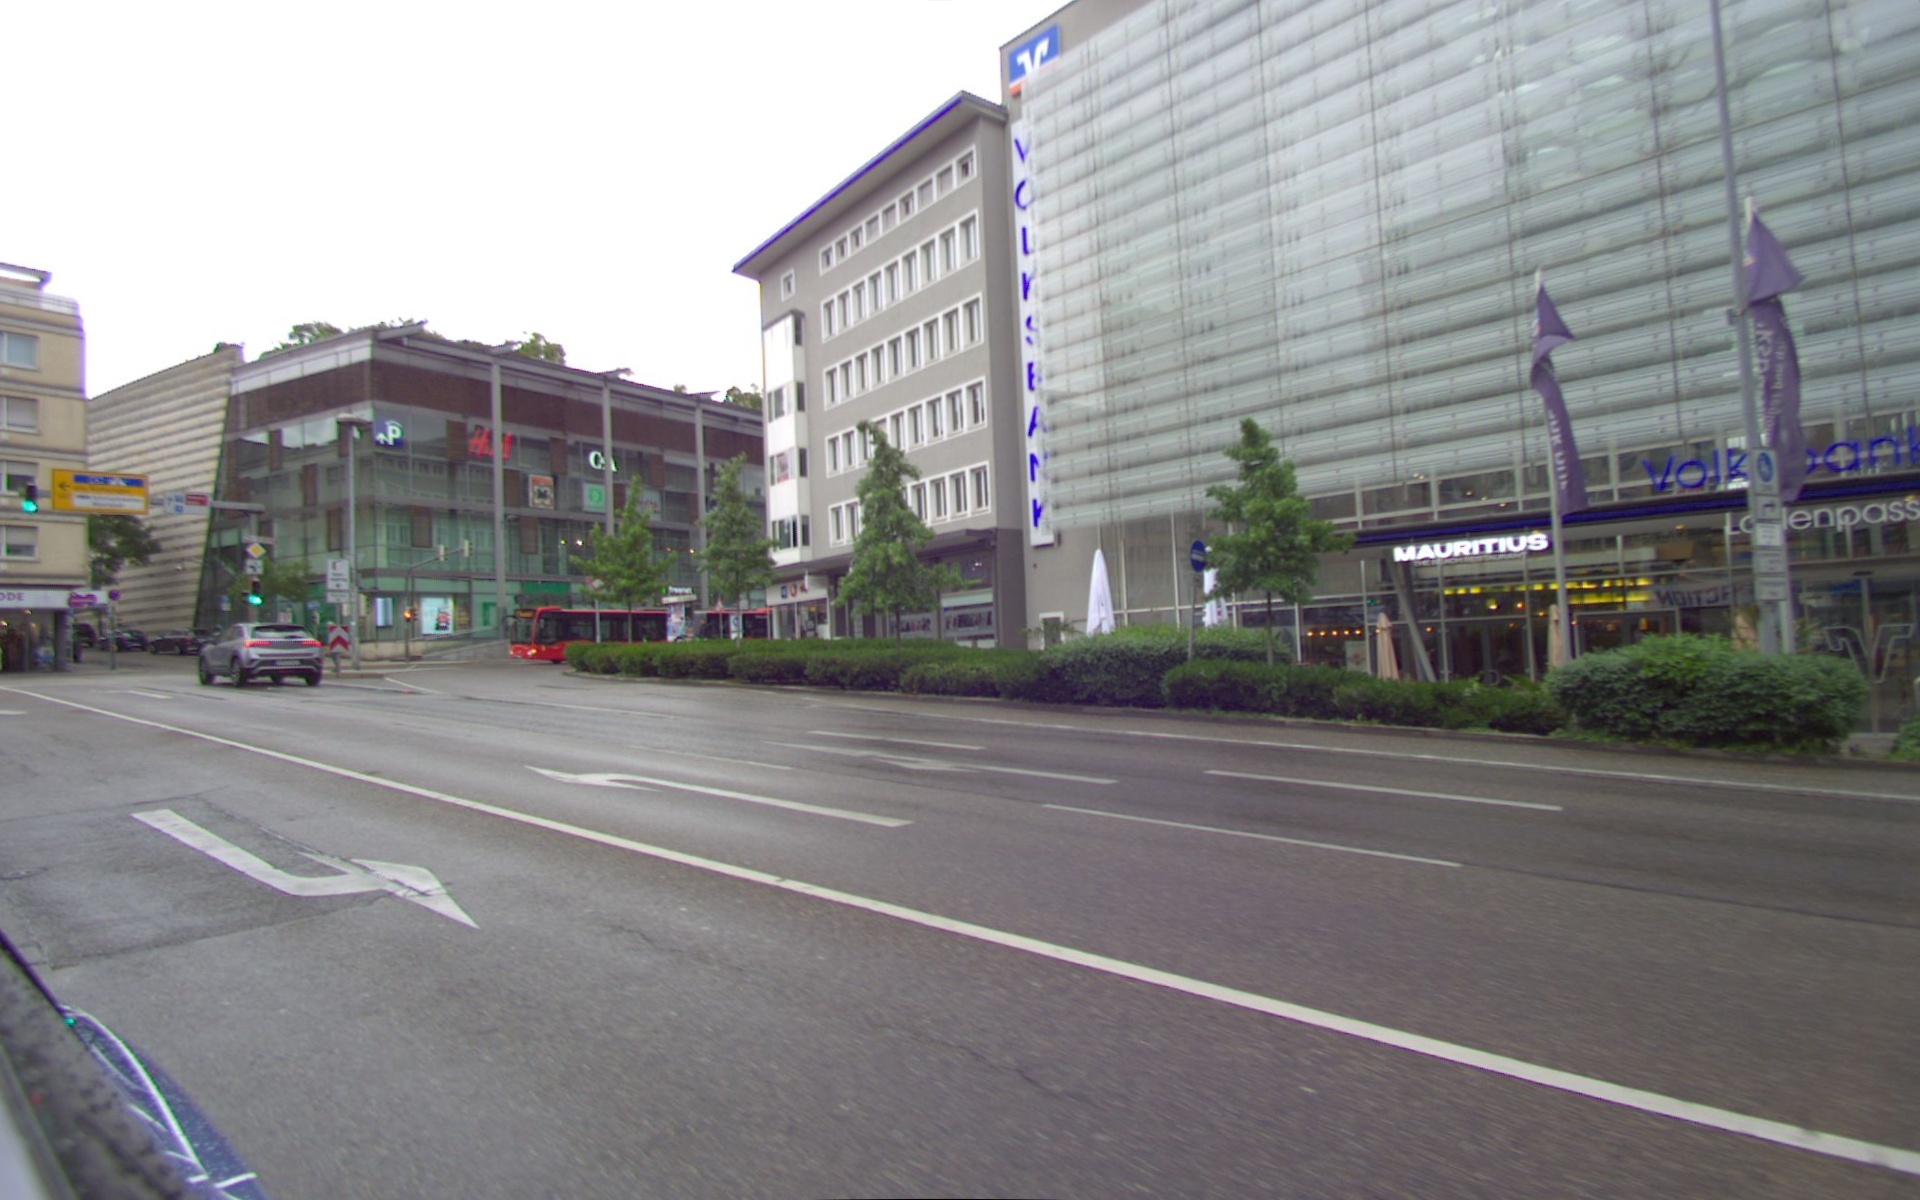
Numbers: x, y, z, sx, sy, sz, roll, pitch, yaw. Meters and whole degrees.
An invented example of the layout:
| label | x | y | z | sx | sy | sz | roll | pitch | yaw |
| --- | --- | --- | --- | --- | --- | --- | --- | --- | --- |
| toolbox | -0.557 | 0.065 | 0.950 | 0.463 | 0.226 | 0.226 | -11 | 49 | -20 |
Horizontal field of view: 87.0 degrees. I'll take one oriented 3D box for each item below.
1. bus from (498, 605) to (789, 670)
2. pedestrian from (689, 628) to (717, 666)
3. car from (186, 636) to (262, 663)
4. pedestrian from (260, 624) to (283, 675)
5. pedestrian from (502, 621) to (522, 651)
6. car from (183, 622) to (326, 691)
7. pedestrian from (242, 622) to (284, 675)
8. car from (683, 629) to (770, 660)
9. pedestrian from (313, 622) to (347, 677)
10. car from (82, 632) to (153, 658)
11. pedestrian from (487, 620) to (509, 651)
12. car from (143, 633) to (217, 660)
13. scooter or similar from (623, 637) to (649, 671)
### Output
| label | x | y | z | sx | sy | sz | roll | pitch | yaw |
| --- | --- | --- | --- | --- | --- | --- | --- | --- | --- |
| bus | -17.762 | 2.285 | 59.789 | 2.924 | 3.346 | 18.247 | -3 | -4 | 37 |
| pedestrian | -12.243 | 2.253 | 48.177 | 1.021 | 1.789 | 0.792 | -1 | -3 | 30 |
| car | -43.330 | 2.897 | 59.564 | 4.273 | 1.558 | 1.789 | -1 | -2 | 26 |
| pedestrian | -23.113 | 1.653 | 33.965 | 0.571 | 1.681 | 0.494 | -4 | -4 | 42 |
| pedestrian | -29.744 | 2.395 | 67.171 | 0.876 | 1.996 | 0.840 | -3 | -4 | 35 |
| car | -17.533 | 1.389 | 25.086 | 4.090 | 1.564 | 1.822 | -2 | -4 | 40 |
| pedestrian | -24.424 | 1.699 | 35.465 | 1.009 | 1.801 | 0.845 | -2 | -3 | 29 |
| car | -16.214 | 3.094 | 70.464 | 2.446 | 2.091 | 5.840 | -2 | -3 | 34 |
| pedestrian | -21.052 | 1.643 | 33.826 | 0.829 | 1.792 | 0.611 | -2 | -3 | 30 |
| car | -54.592 | 2.891 | 65.567 | 4.357 | 1.558 | 1.882 | -1 | 0 | 26 |
| pedestrian | -30.308 | 2.361 | 66.406 | 0.881 | 1.996 | 0.963 | -3 | -4 | 35 |
| car | -48.103 | 2.831 | 62.412 | 4.357 | 1.558 | 1.882 | -1 | 0 | 26 |
| scooter or similar | -11.950 | 1.991 | 37.348 | 0.535 | 1.196 | 1.387 | 1 | -4 | -35 |
